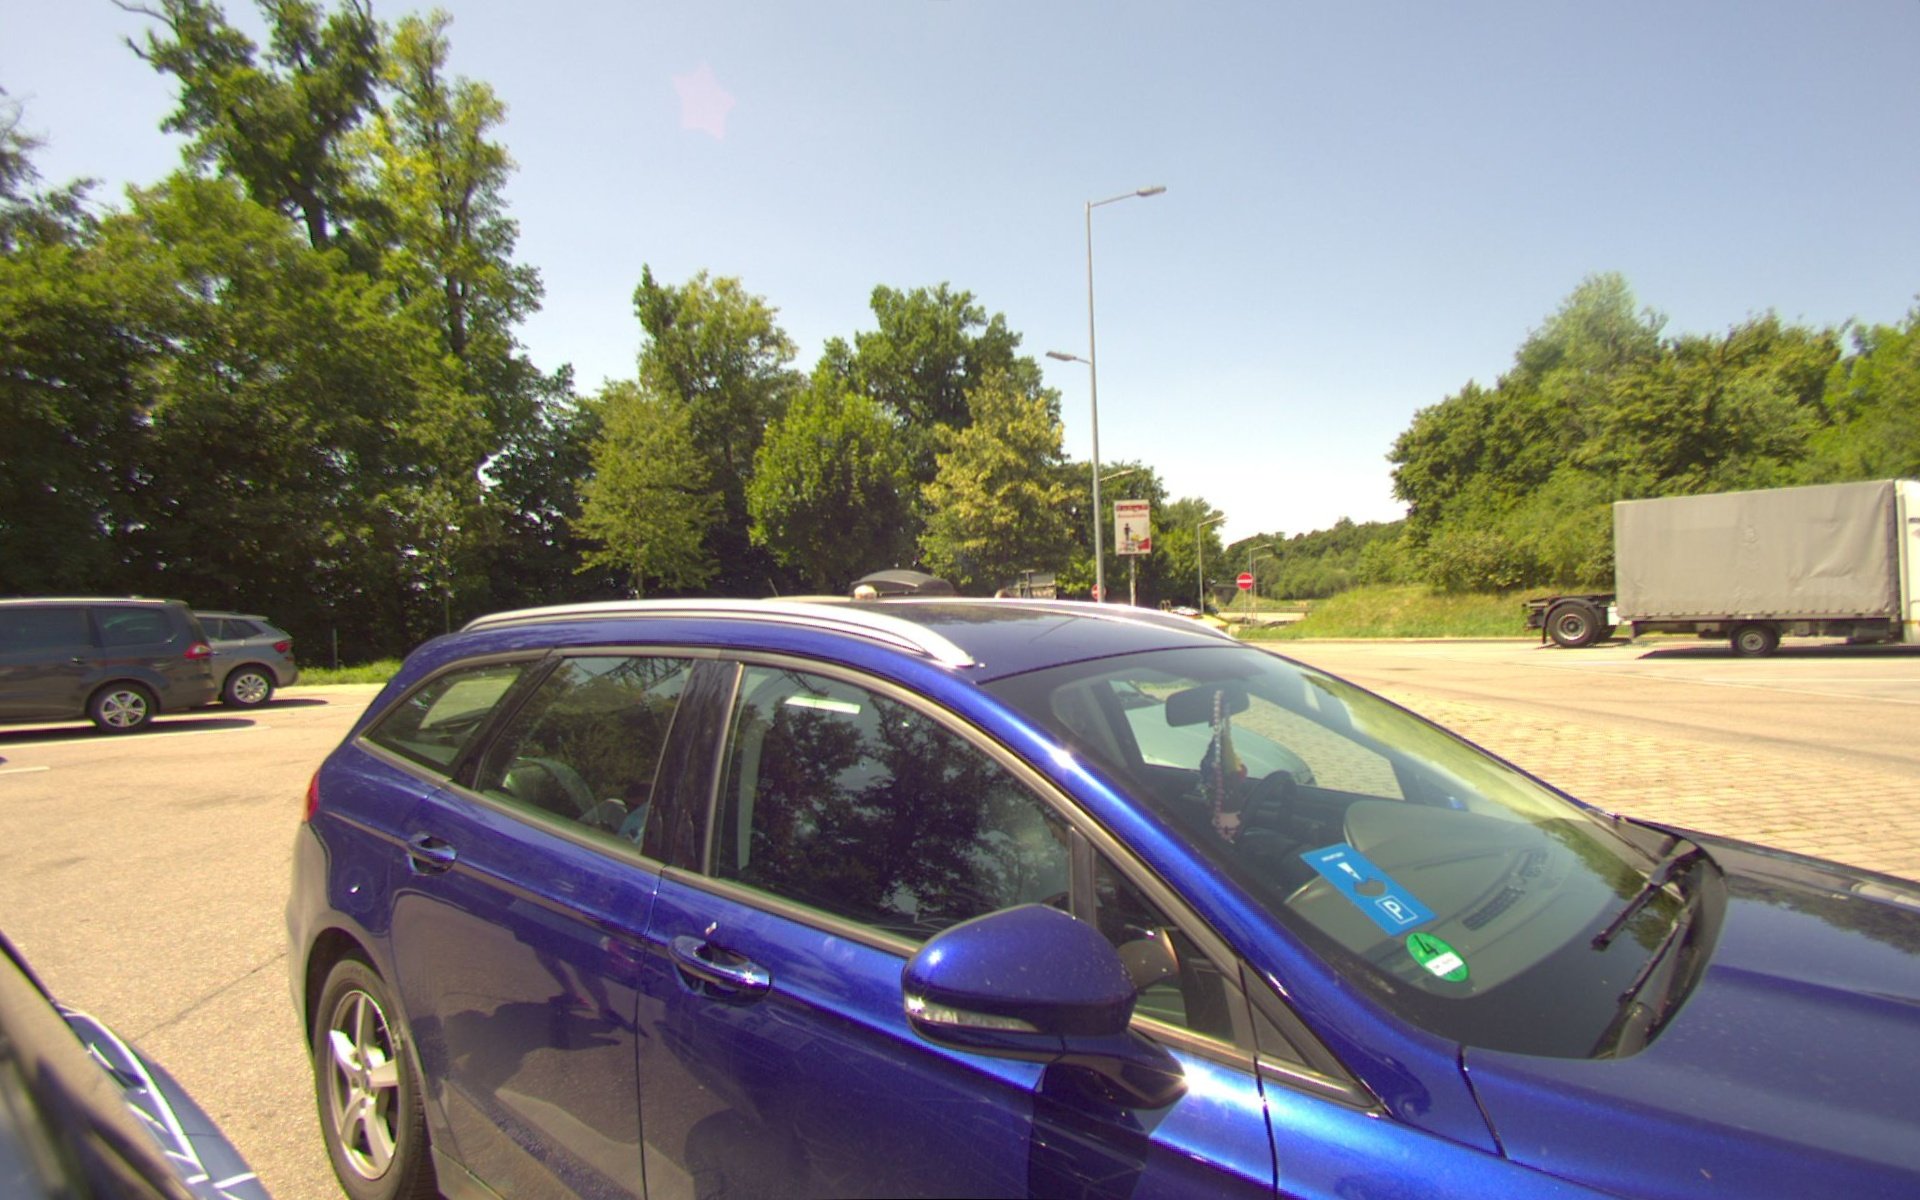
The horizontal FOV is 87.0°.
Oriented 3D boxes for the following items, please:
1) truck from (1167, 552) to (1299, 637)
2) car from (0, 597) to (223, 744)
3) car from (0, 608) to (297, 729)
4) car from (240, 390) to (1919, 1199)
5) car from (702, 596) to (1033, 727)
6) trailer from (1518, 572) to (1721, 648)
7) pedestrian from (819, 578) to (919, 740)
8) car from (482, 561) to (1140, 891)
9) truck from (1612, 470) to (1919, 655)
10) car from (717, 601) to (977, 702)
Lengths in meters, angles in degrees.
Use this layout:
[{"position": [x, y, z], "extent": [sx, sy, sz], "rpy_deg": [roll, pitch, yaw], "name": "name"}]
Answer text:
[{"position": [12.822, -0.219, 47.613], "extent": [5.782, 3.720, 1.987], "rpy_deg": [-2, -1, 20], "name": "truck"}, {"position": [-11.684, 0.851, 12.563], "extent": [3.910, 1.701, 1.782], "rpy_deg": [-1, -1, -43], "name": "car"}, {"position": [-12.713, 0.977, 15.614], "extent": [3.910, 1.598, 1.782], "rpy_deg": [-1, -1, -43], "name": "car"}, {"position": [0.239, 0.633, 2.107], "extent": [4.466, 1.476, 1.756], "rpy_deg": [-3, -1, 40], "name": "car"}, {"position": [-1.361, 0.761, 13.538], "extent": [4.466, 1.476, 1.756], "rpy_deg": [-3, -1, 40], "name": "car"}, {"position": [15.786, 0.281, 24.335], "extent": [3.900, 1.674, 1.456], "rpy_deg": [-2, -1, 41], "name": "trailer"}, {"position": [-0.954, 0.596, 10.590], "extent": [0.759, 1.614, 0.663], "rpy_deg": [-3, -1, 41], "name": "pedestrian"}, {"position": [-1.231, 0.634, 6.664], "extent": [4.466, 1.476, 1.756], "rpy_deg": [-3, -1, 40], "name": "car"}, {"position": [16.704, -0.636, 18.801], "extent": [7.348, 3.152, 2.339], "rpy_deg": [-3, -2, 41], "name": "truck"}, {"position": [-2.013, 0.834, 17.092], "extent": [4.466, 1.476, 1.756], "rpy_deg": [-3, -1, 40], "name": "car"}]
